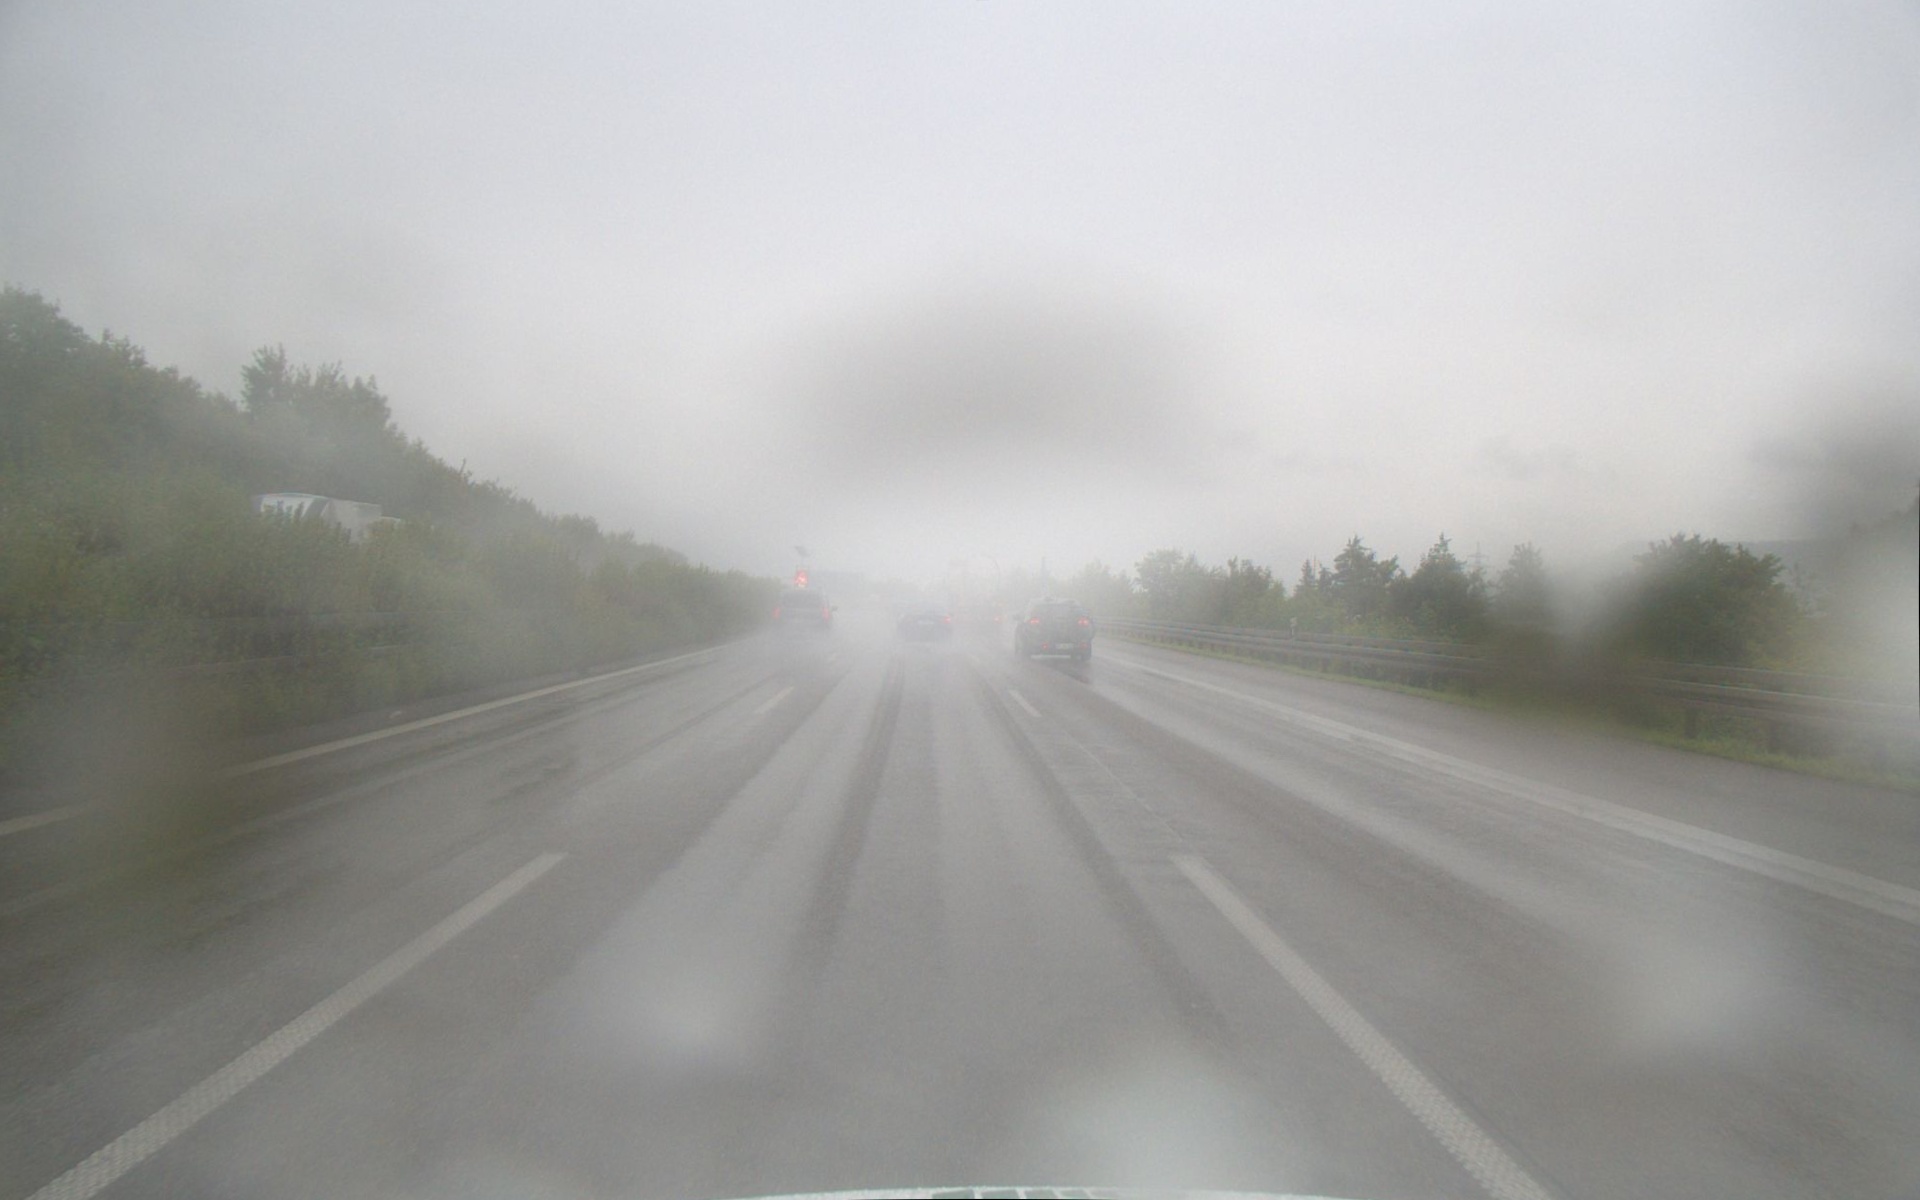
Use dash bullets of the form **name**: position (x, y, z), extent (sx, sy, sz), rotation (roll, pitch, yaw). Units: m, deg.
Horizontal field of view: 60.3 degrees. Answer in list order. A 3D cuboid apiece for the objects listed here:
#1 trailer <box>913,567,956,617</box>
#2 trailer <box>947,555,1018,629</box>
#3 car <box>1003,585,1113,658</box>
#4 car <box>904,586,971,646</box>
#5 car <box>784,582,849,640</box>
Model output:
- **trailer**: position (-2.164, -0.658, 135.379), extent (2.946, 3.915, 8.615), rotation (1, 0, -5)
- **trailer**: position (1.077, -0.434, 90.155), extent (3.125, 3.734, 11.660), rotation (1, 0, -3)
- **car**: position (2.499, 0.537, 43.684), extent (2.408, 1.776, 5.717), rotation (1, 0, -1)
- **car**: position (-0.750, 0.487, 52.448), extent (1.939, 1.787, 4.478), rotation (1, 0, -3)
- **car**: position (-4.554, 0.335, 53.060), extent (1.887, 1.771, 4.401), rotation (1, 0, -3)
